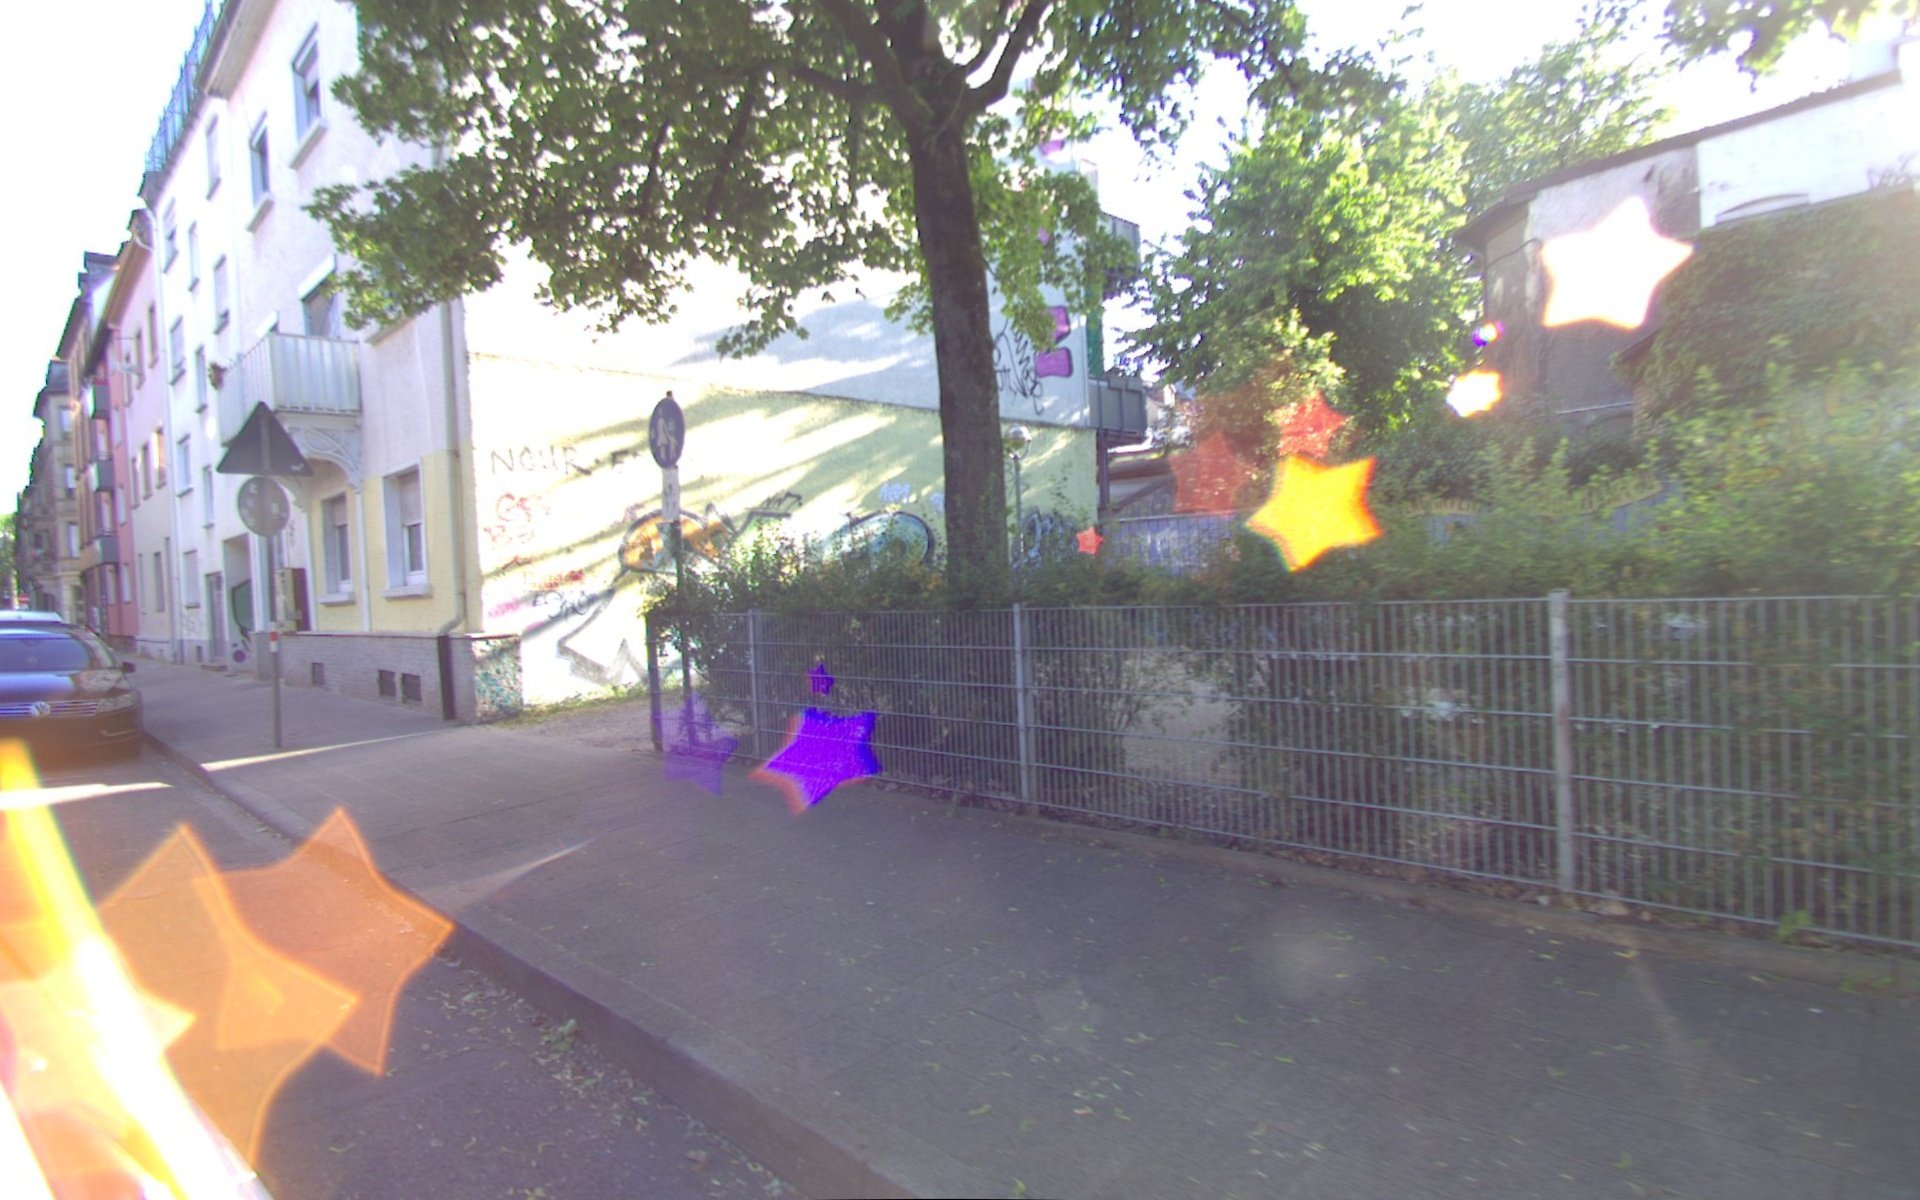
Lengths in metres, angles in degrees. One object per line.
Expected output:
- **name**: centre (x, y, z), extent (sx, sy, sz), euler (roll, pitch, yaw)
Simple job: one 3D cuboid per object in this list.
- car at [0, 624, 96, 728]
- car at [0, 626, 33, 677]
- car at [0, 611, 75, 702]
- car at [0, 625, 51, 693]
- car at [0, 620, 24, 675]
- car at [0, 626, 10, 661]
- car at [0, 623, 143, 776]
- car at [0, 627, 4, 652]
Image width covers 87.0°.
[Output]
- **car**: centre (-14.560, 1.112, 15.728), extent (1.574, 1.462, 3.489), euler (1, -2, -43)
- **car**: centre (-29.773, 1.553, 31.106), extent (1.744, 1.483, 3.818), euler (1, -2, -45)
- **car**: centre (-19.869, 1.129, 21.140), extent (4.316, 1.754, 1.730), euler (-1, -2, 44)
- **car**: centre (-23.363, 1.380, 24.625), extent (1.650, 1.539, 4.092), euler (1, -2, -39)
- **car**: centre (-33.552, 1.601, 34.900), extent (1.744, 1.838, 4.106), euler (1, -2, -45)
- **car**: centre (-44.221, 1.950, 45.754), extent (1.744, 1.545, 4.106), euler (1, -2, -45)
- **car**: centre (-10.633, 0.996, 11.423), extent (1.758, 1.454, 4.395), euler (1, -2, -45)
- **car**: centre (-60.524, 2.440, 62.745), extent (1.744, 1.483, 3.935), euler (1, -2, -45)
